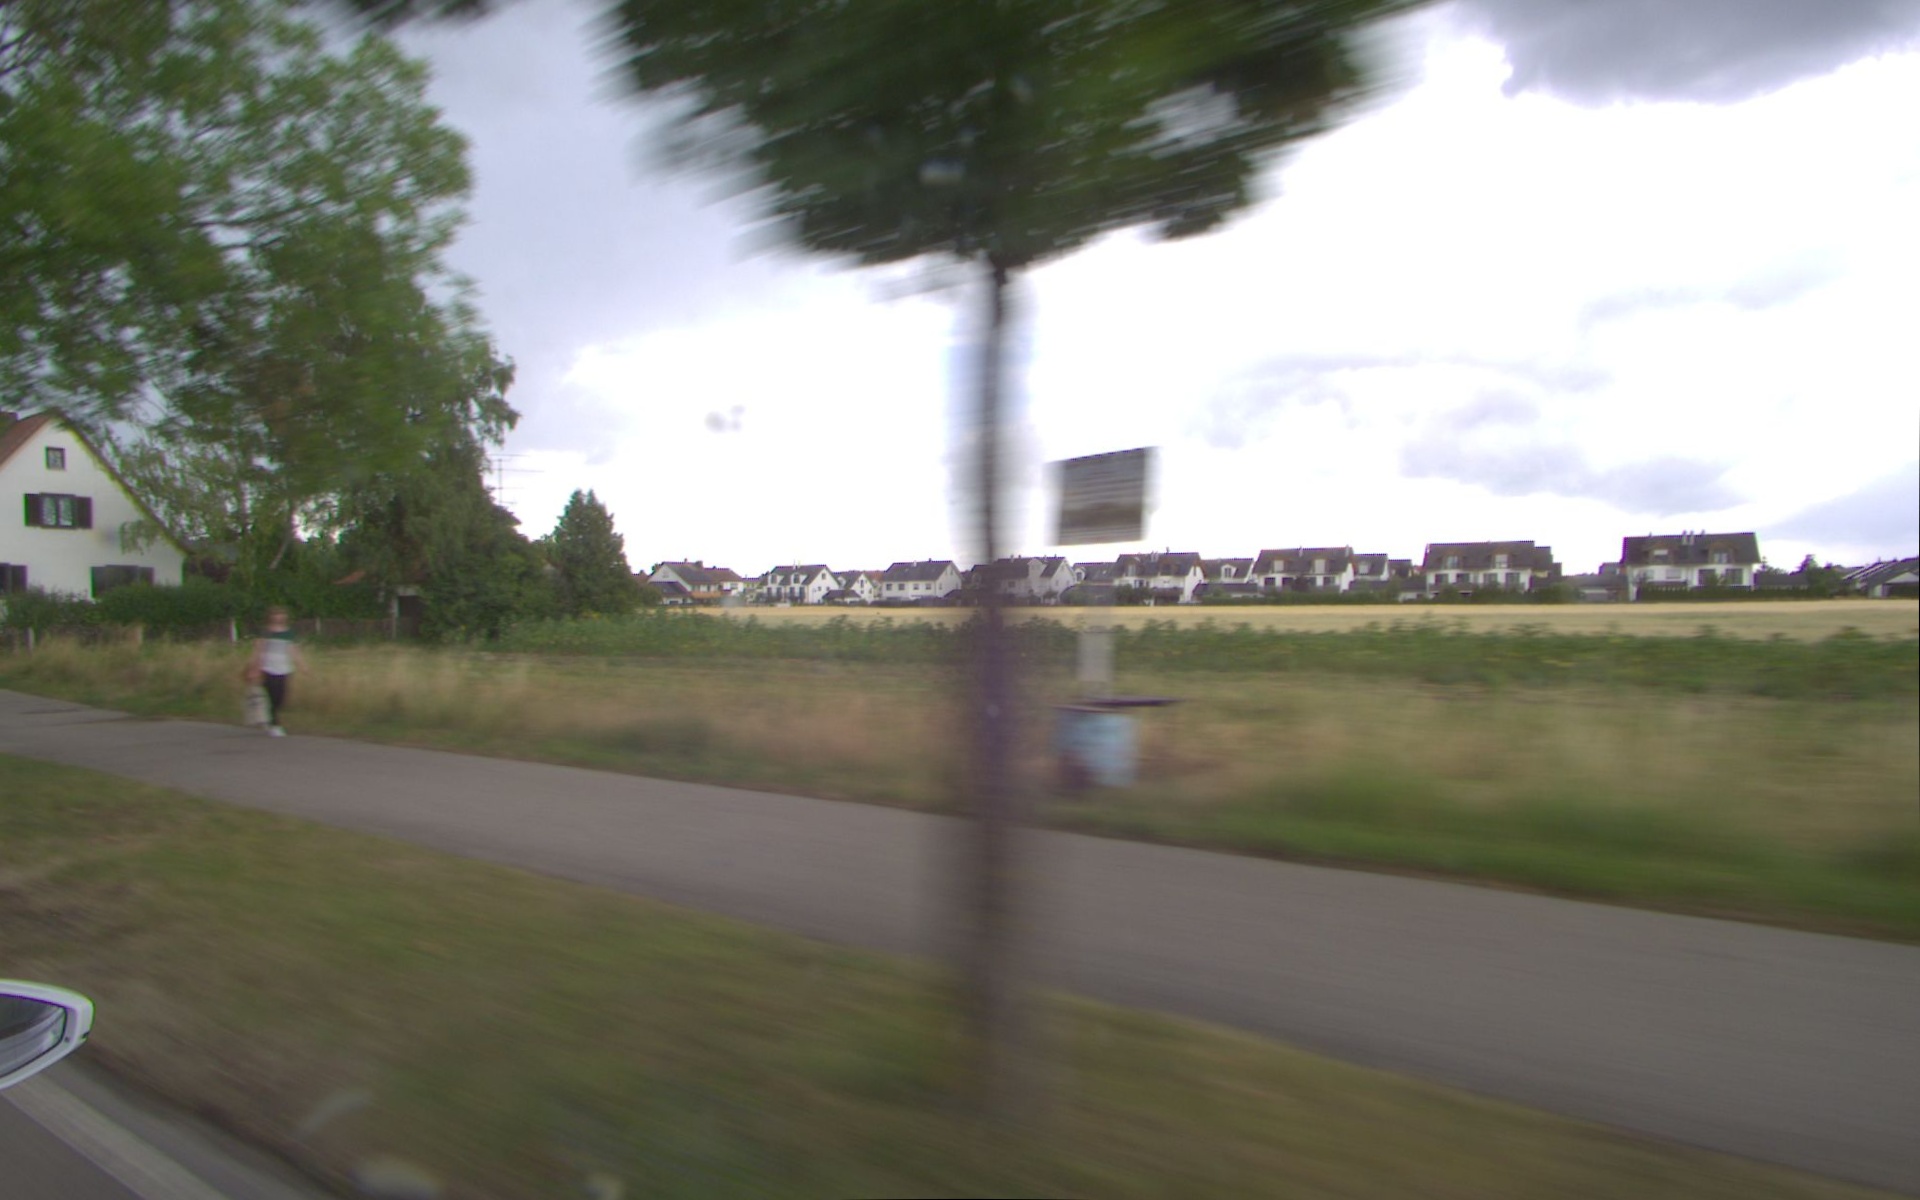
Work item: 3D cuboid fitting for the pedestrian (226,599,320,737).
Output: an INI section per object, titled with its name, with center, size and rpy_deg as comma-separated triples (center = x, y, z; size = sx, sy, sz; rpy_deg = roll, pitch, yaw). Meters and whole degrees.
[pedestrian]
center = -9.244, 0.886, 13.481
size = 0.859, 1.778, 0.834
rpy_deg = 0, 0, 38
